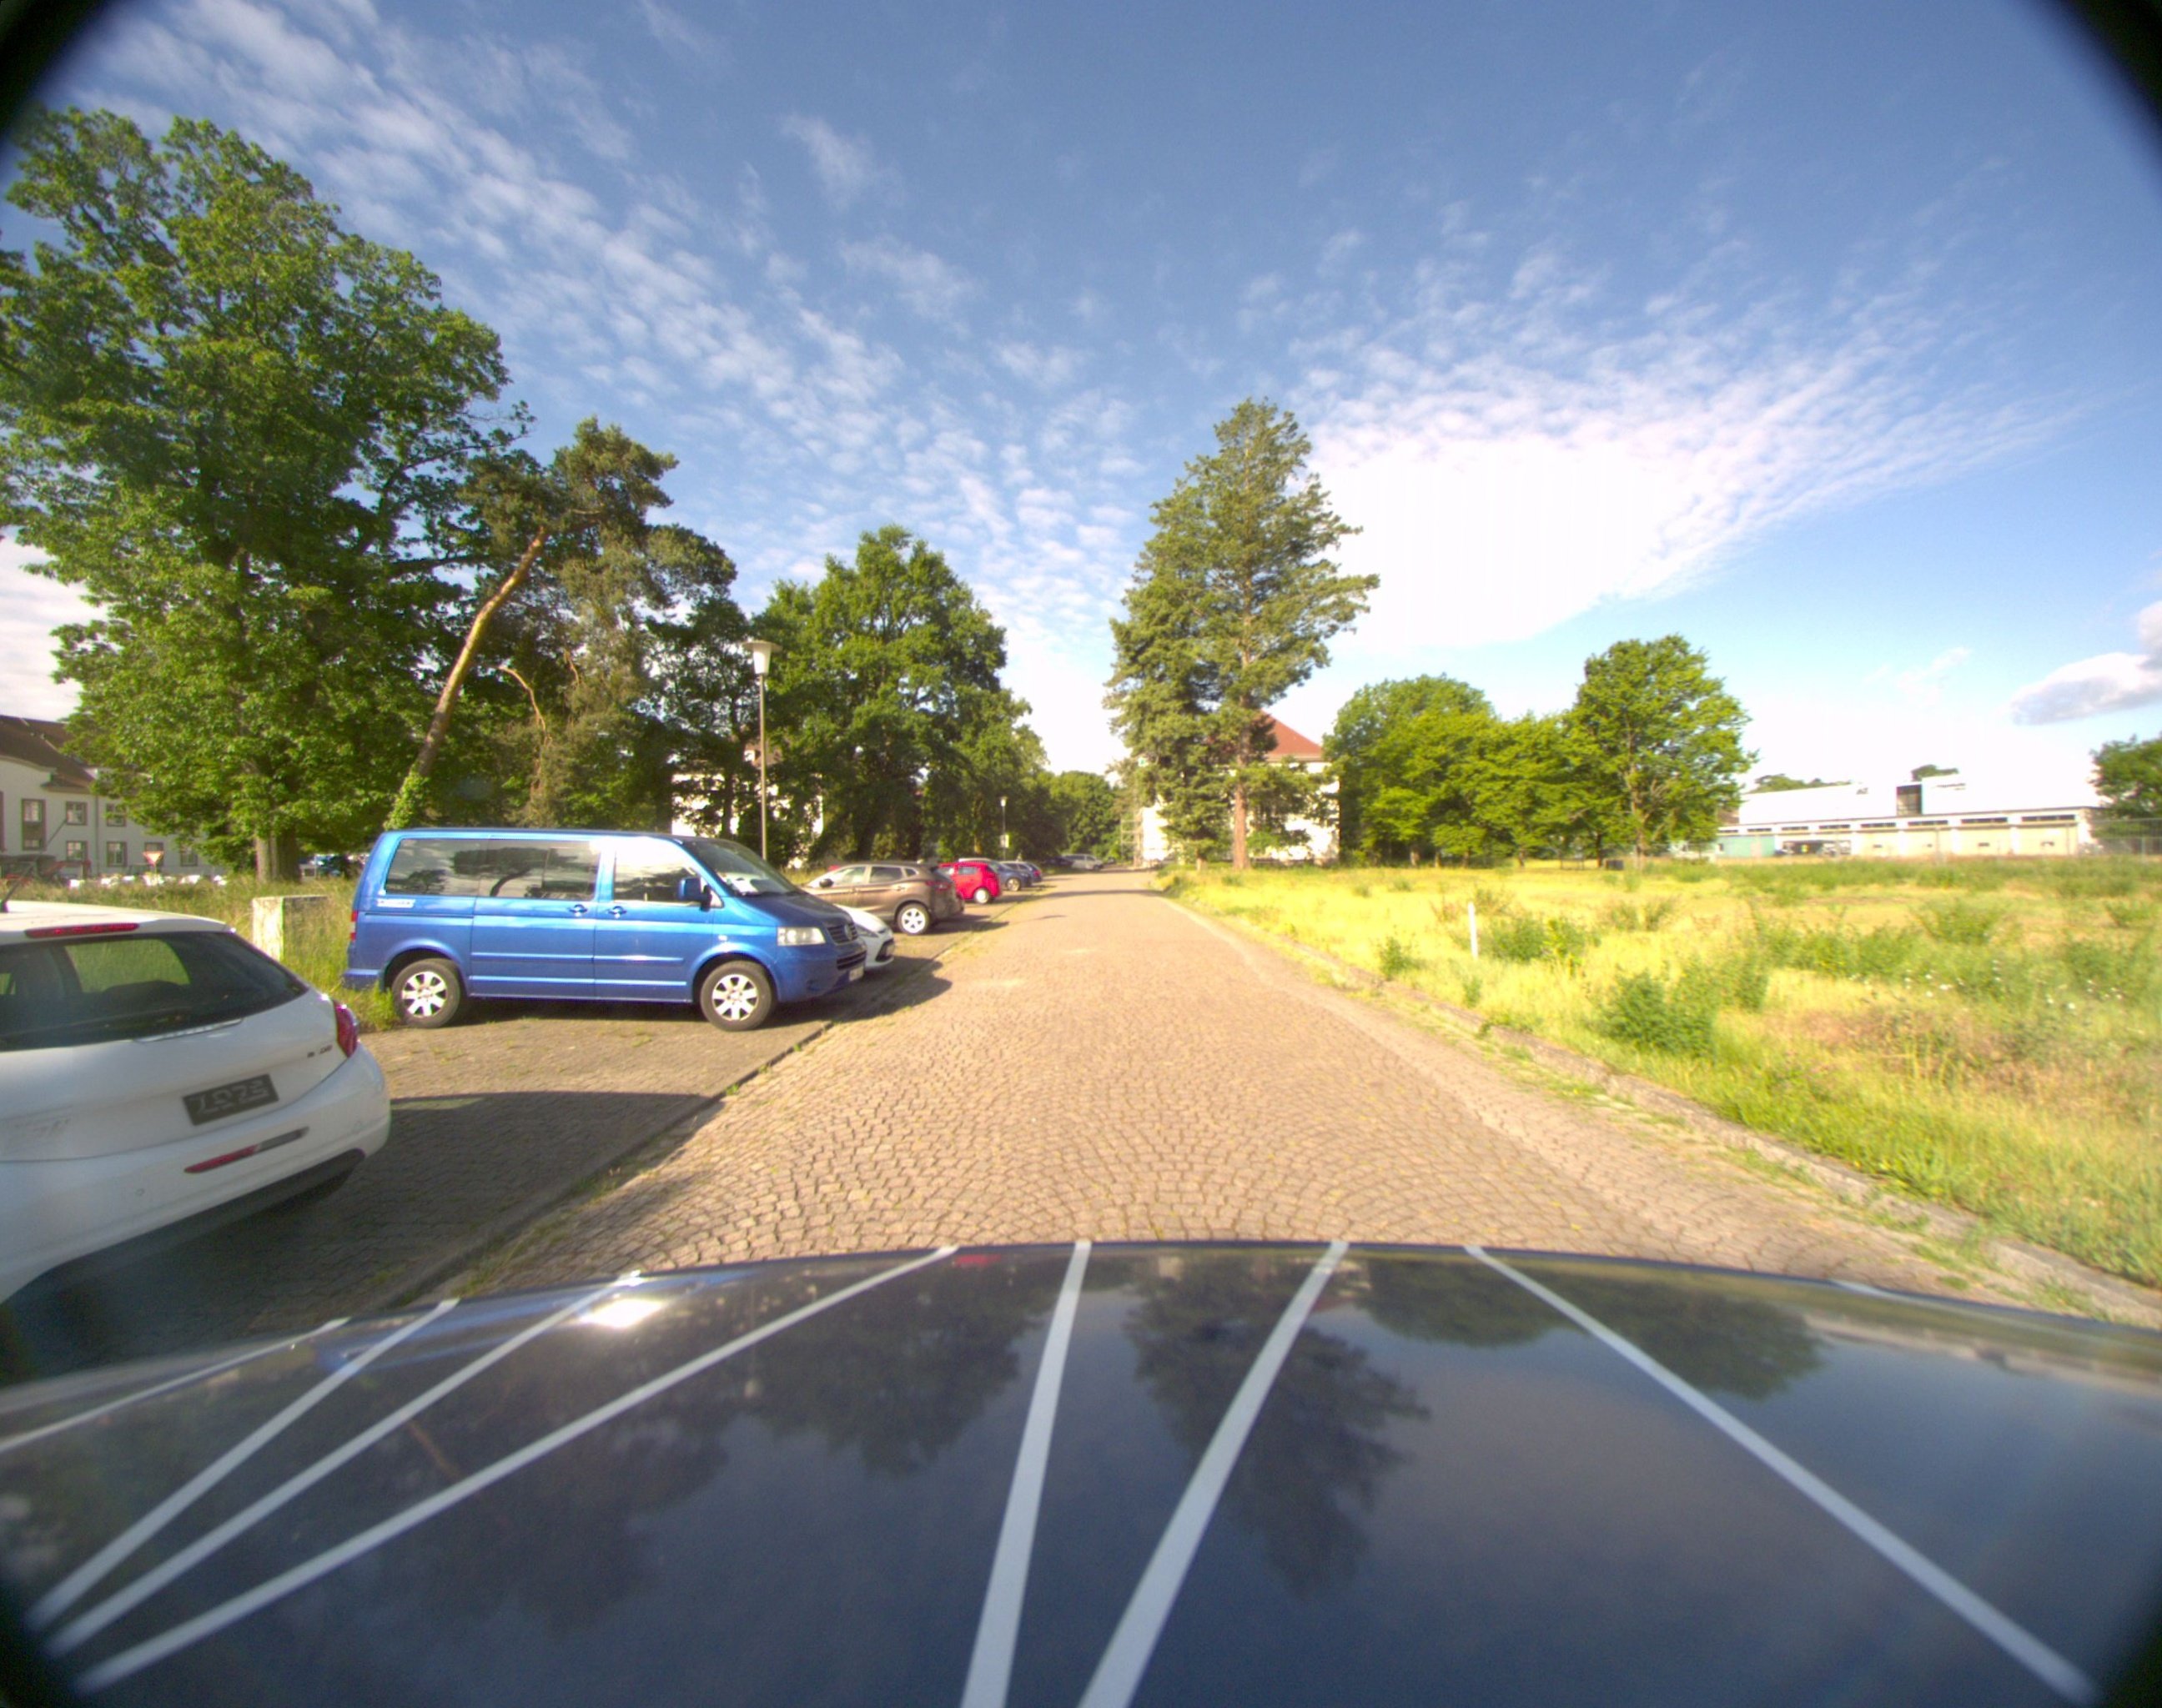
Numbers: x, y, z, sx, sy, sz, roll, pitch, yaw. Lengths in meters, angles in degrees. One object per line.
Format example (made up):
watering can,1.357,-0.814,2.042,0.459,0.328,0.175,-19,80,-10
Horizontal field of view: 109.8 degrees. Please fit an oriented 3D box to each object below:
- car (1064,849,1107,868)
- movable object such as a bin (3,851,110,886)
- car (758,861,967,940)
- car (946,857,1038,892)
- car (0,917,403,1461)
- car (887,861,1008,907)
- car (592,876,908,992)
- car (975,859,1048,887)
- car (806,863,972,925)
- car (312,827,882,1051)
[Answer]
car,0.503,0.493,90.963,4.993,2.123,2.164,-1,0,-1
movable object such as a bin,-89.110,1.210,66.219,2.178,2.884,5.075,-1,0,8
car,-4.730,0.981,16.905,4.117,1.601,1.786,-1,0,-1
car,-4.344,1.010,37.465,4.273,1.589,1.651,-1,0,0
car,-4.990,1.057,2.722,3.654,1.483,1.634,-1,0,1
car,-4.721,1.050,27.180,3.997,1.487,1.540,-1,0,0
car,-4.486,1.067,10.694,3.730,1.458,1.609,0,0,-1
car,-3.828,1.048,42.252,3.809,1.458,1.747,-1,0,2
car,-4.889,1.001,19.718,3.834,1.530,1.703,0,0,1
car,-4.786,0.782,8.067,4.765,2.002,2.000,1,0,1
